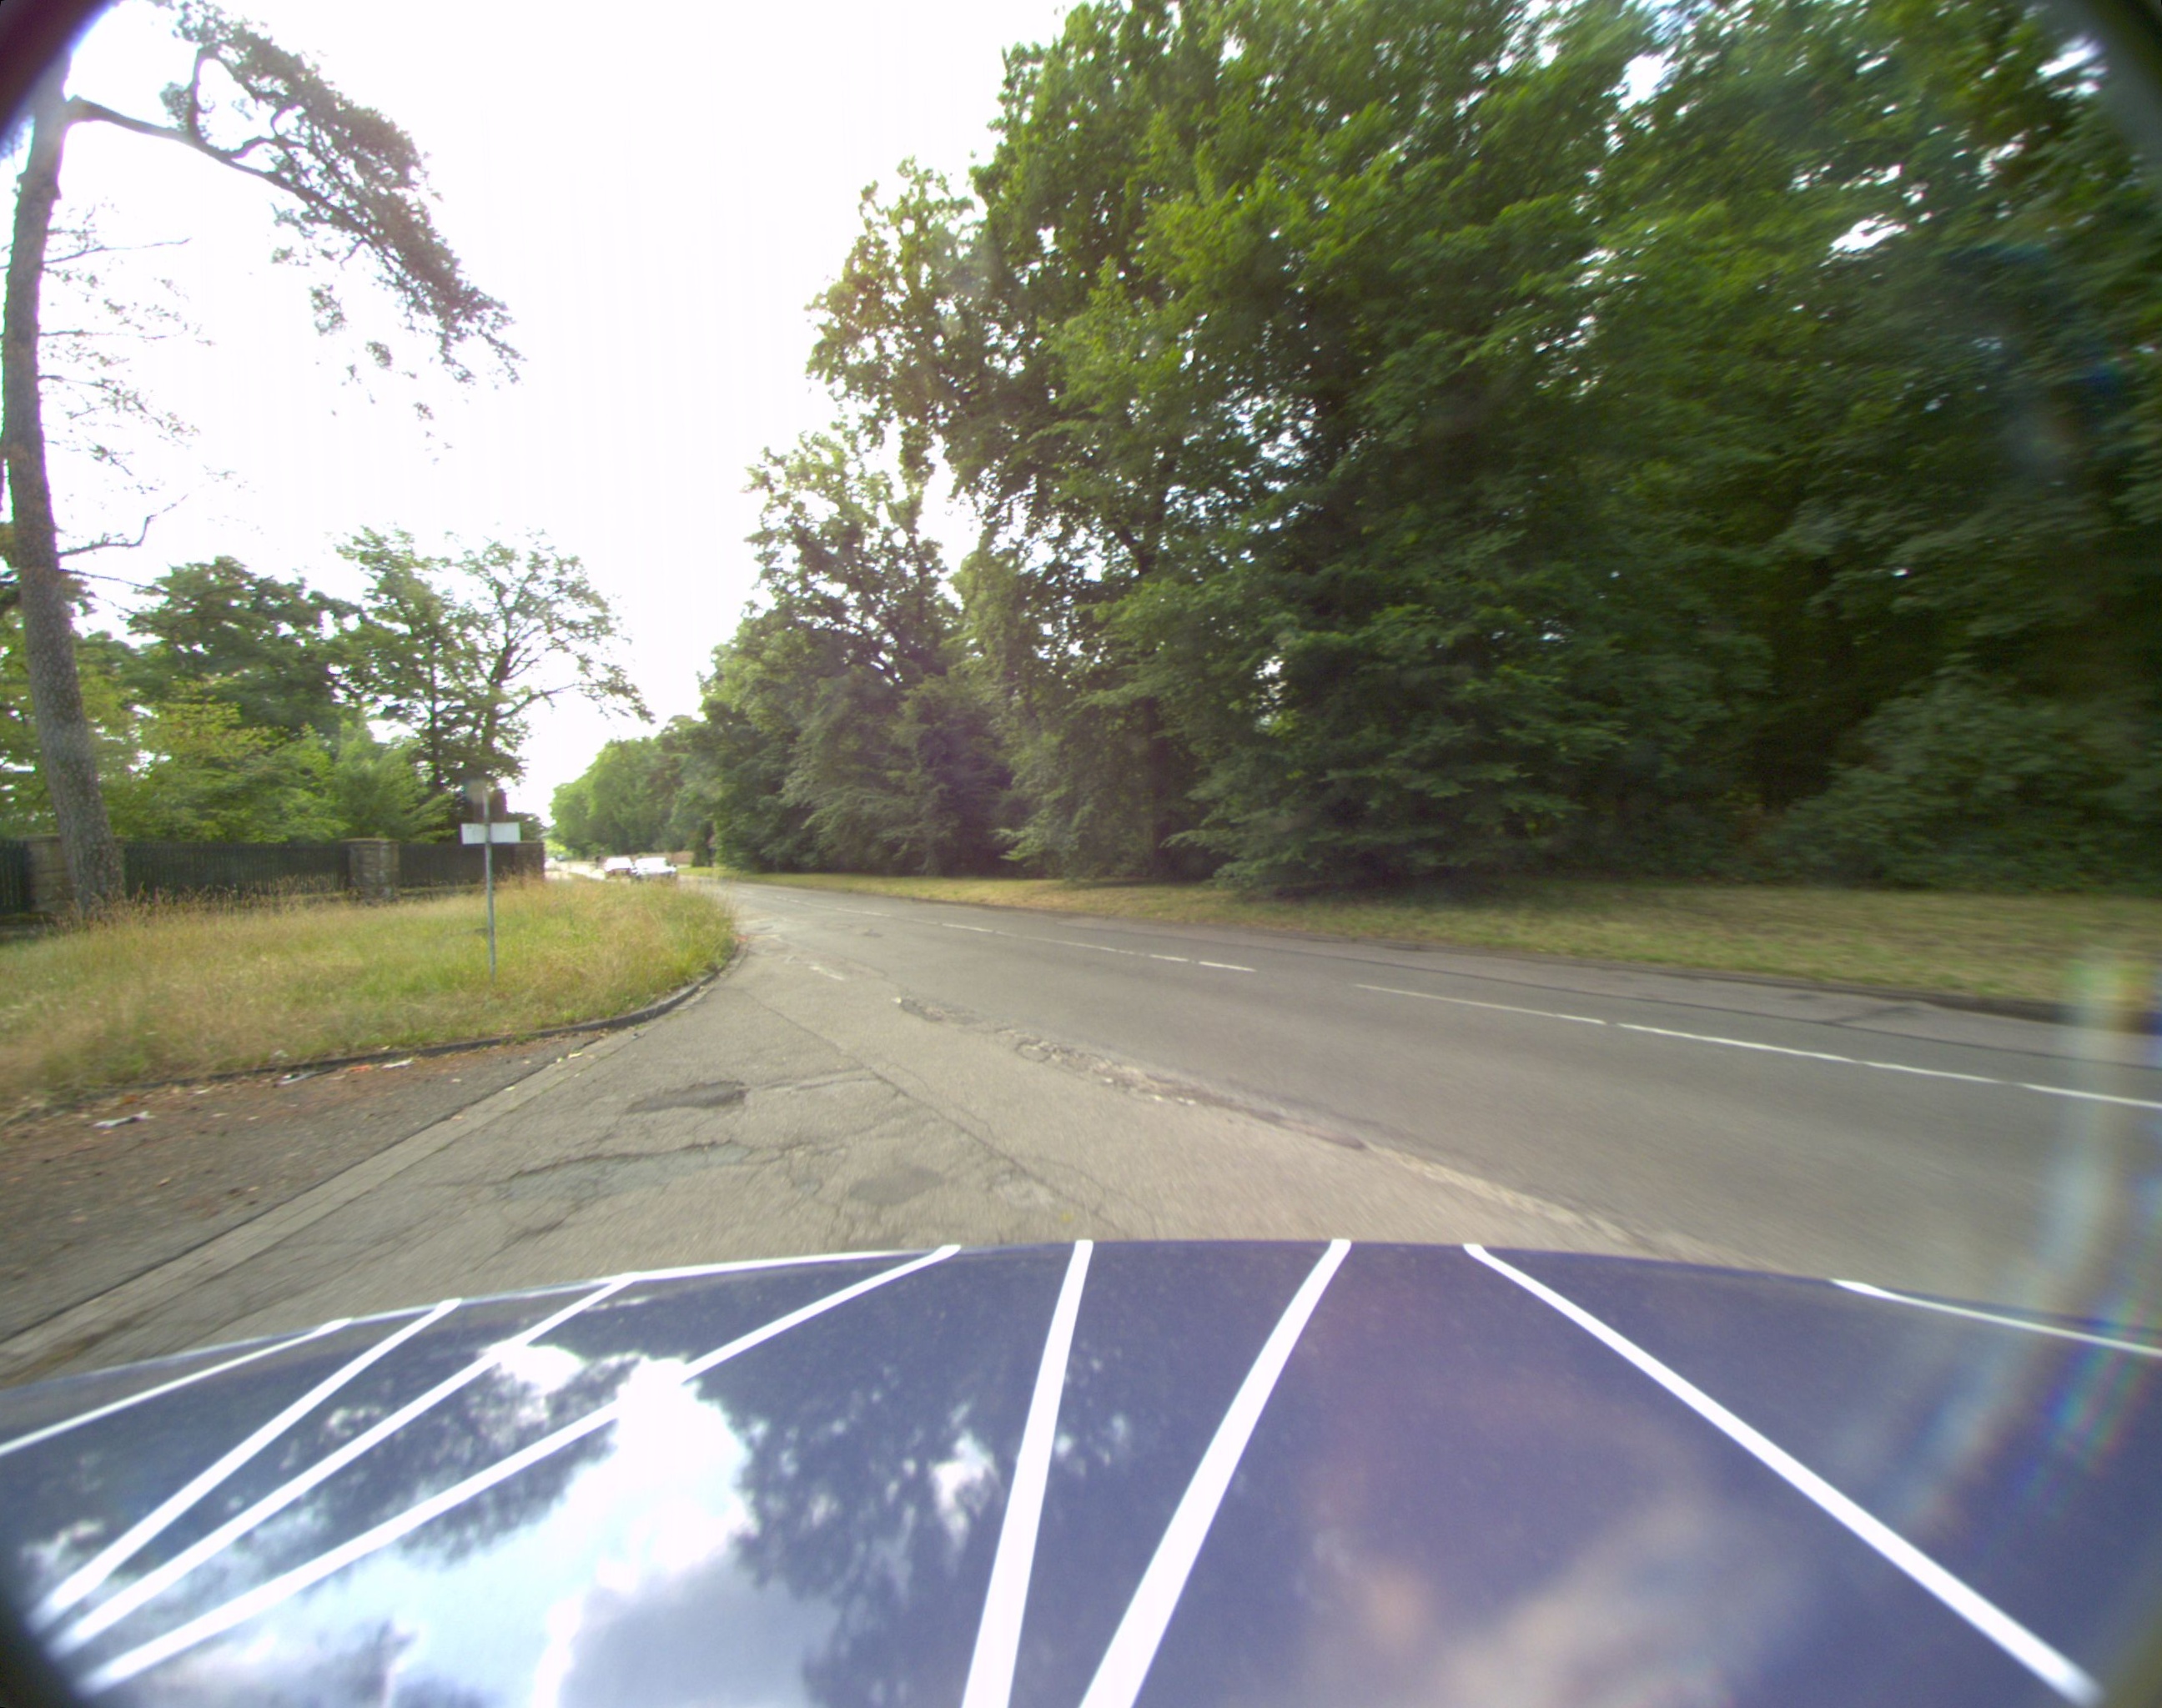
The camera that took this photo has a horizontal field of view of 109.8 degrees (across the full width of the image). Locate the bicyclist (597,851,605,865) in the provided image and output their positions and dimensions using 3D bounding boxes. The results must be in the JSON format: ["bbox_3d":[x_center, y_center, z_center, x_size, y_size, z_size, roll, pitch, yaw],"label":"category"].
[{"bbox_3d":[-54.087,0.453,85.609,0.572,1.579,1.202,-1,0,-36],"label":"bicyclist"}]

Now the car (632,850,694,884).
[{"bbox_3d":[-20.880,0.691,37.900,1.970,1.455,4.518,-5,1,-37],"label":"car"}]

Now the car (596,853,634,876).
[{"bbox_3d":[-33.346,0.713,54.349,2.003,1.456,4.192,-2,2,-35],"label":"car"}]

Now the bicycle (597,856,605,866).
[{"bbox_3d":[-54.009,0.773,85.521,0.561,1.066,2.151,-1,0,-36],"label":"bicycle"}]
